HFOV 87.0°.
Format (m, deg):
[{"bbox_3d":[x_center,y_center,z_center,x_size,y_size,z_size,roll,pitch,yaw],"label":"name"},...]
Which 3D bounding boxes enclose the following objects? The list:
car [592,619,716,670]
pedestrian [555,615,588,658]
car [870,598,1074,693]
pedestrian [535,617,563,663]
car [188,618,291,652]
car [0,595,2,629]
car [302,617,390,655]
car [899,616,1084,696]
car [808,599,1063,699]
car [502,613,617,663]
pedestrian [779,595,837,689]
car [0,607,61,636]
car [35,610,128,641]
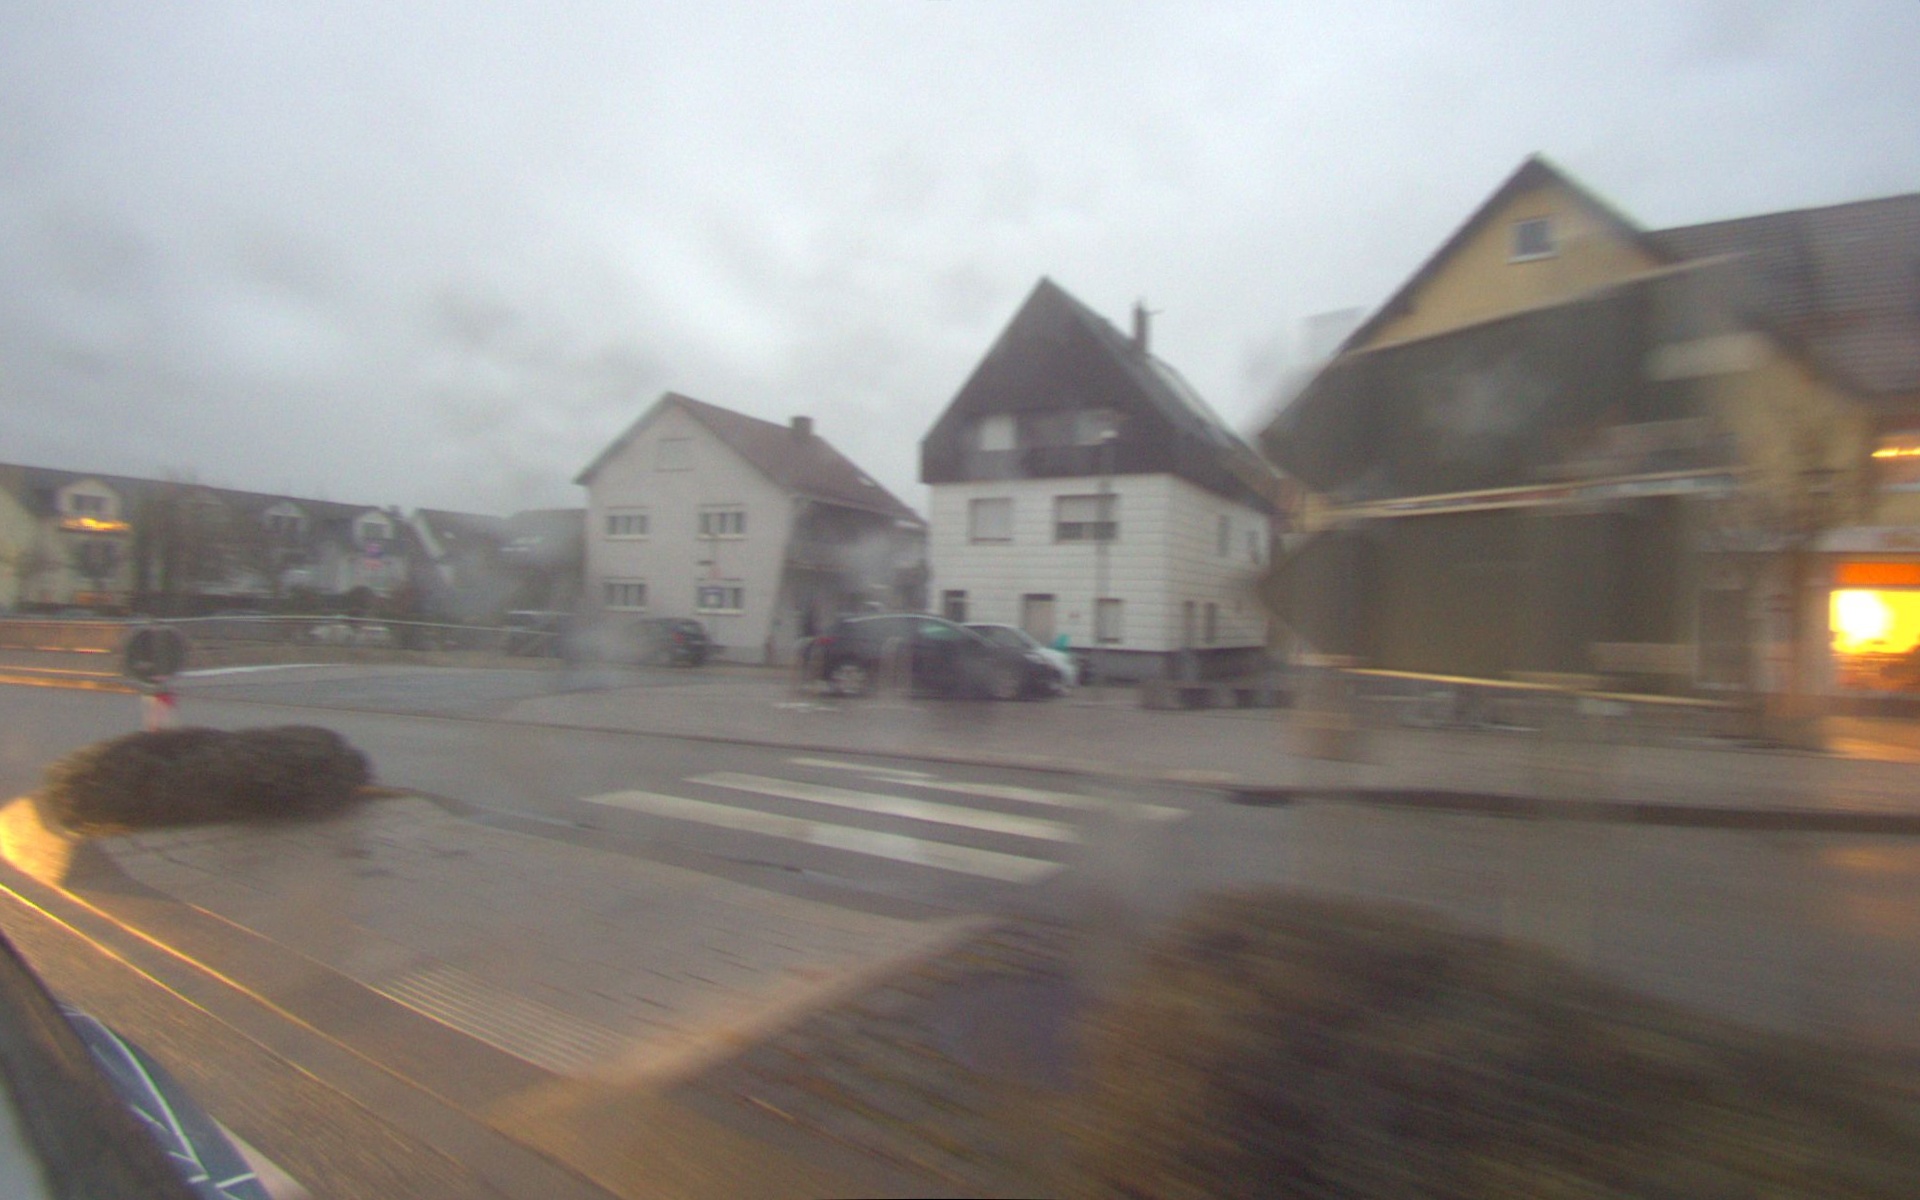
[{"bbox_3d":[-10.581,1.504,34.959,4.074,1.581,1.763,1,0,28],"label":"car"},{"bbox_3d":[-11.584,1.069,30.159,0.600,1.259,0.686,0,-1,30],"label":"pedestrian"},{"bbox_3d":[0.214,0.921,20.208,3.842,1.683,1.840,2,-3,0],"label":"car"},{"bbox_3d":[-11.871,1.154,29.248,0.594,1.312,0.511,1,-1,-3],"label":"pedestrian"},{"bbox_3d":[-33.127,1.593,46.543,4.227,1.480,1.787,1,-2,21],"label":"car"},{"bbox_3d":[-54.339,0.598,54.893,4.226,1.841,1.788,1,-2,21],"label":"car"},{"bbox_3d":[-26.025,1.511,42.906,3.482,1.520,1.467,1,-2,24],"label":"car"},{"bbox_3d":[0.723,1.242,22.601,3.948,1.643,1.763,1,-3,4],"label":"car"},{"bbox_3d":[-0.461,0.834,17.400,4.117,1.543,1.916,1,-2,-4],"label":"car"},{"bbox_3d":[-14.675,1.360,37.047,3.937,1.673,1.690,1,0,25],"label":"car"},{"bbox_3d":[-2.841,0.782,18.958,0.833,1.725,0.721,0,-3,13],"label":"pedestrian"},{"bbox_3d":[-49.657,1.109,53.236,4.227,1.480,1.787,1,-2,21],"label":"car"},{"bbox_3d":[-44.668,1.272,51.458,4.227,1.480,1.787,1,-2,21],"label":"car"}]
